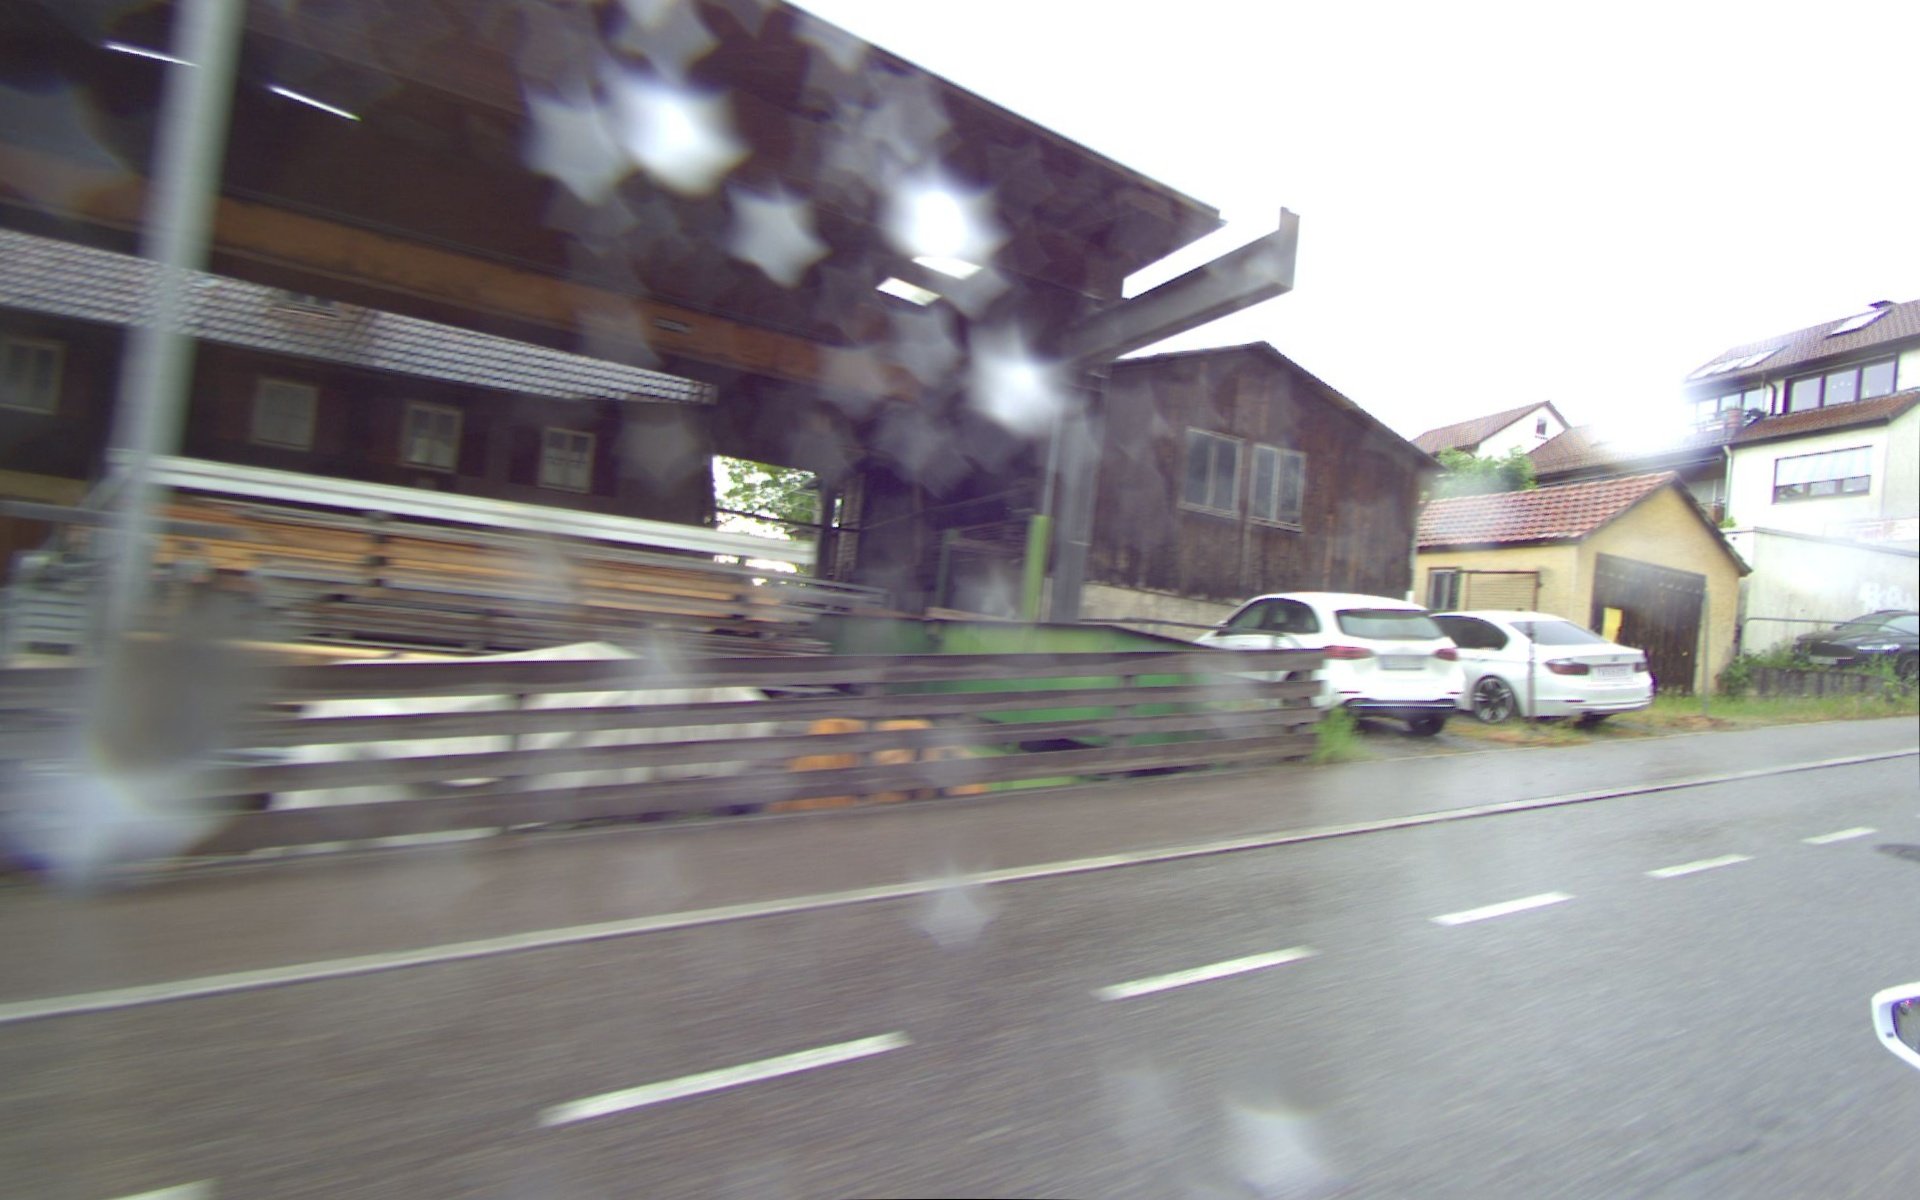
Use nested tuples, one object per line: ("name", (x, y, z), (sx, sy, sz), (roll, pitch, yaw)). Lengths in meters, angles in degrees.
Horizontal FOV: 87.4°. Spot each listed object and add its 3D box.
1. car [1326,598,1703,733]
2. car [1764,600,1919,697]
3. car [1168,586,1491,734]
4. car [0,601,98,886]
("car", (7.240, 0.758, 13.745), (1.870, 1.525, 4.495), (1, 0, -16))
("car", (18.114, 0.907, 19.086), (4.881, 1.681, 1.974), (1, 0, -16))
("car", (4.319, 0.645, 12.490), (1.868, 1.525, 3.989), (1, 0, -13))
("car", (-7.084, 0.696, 4.592), (4.389, 1.460, 1.887), (2, -2, -28))
